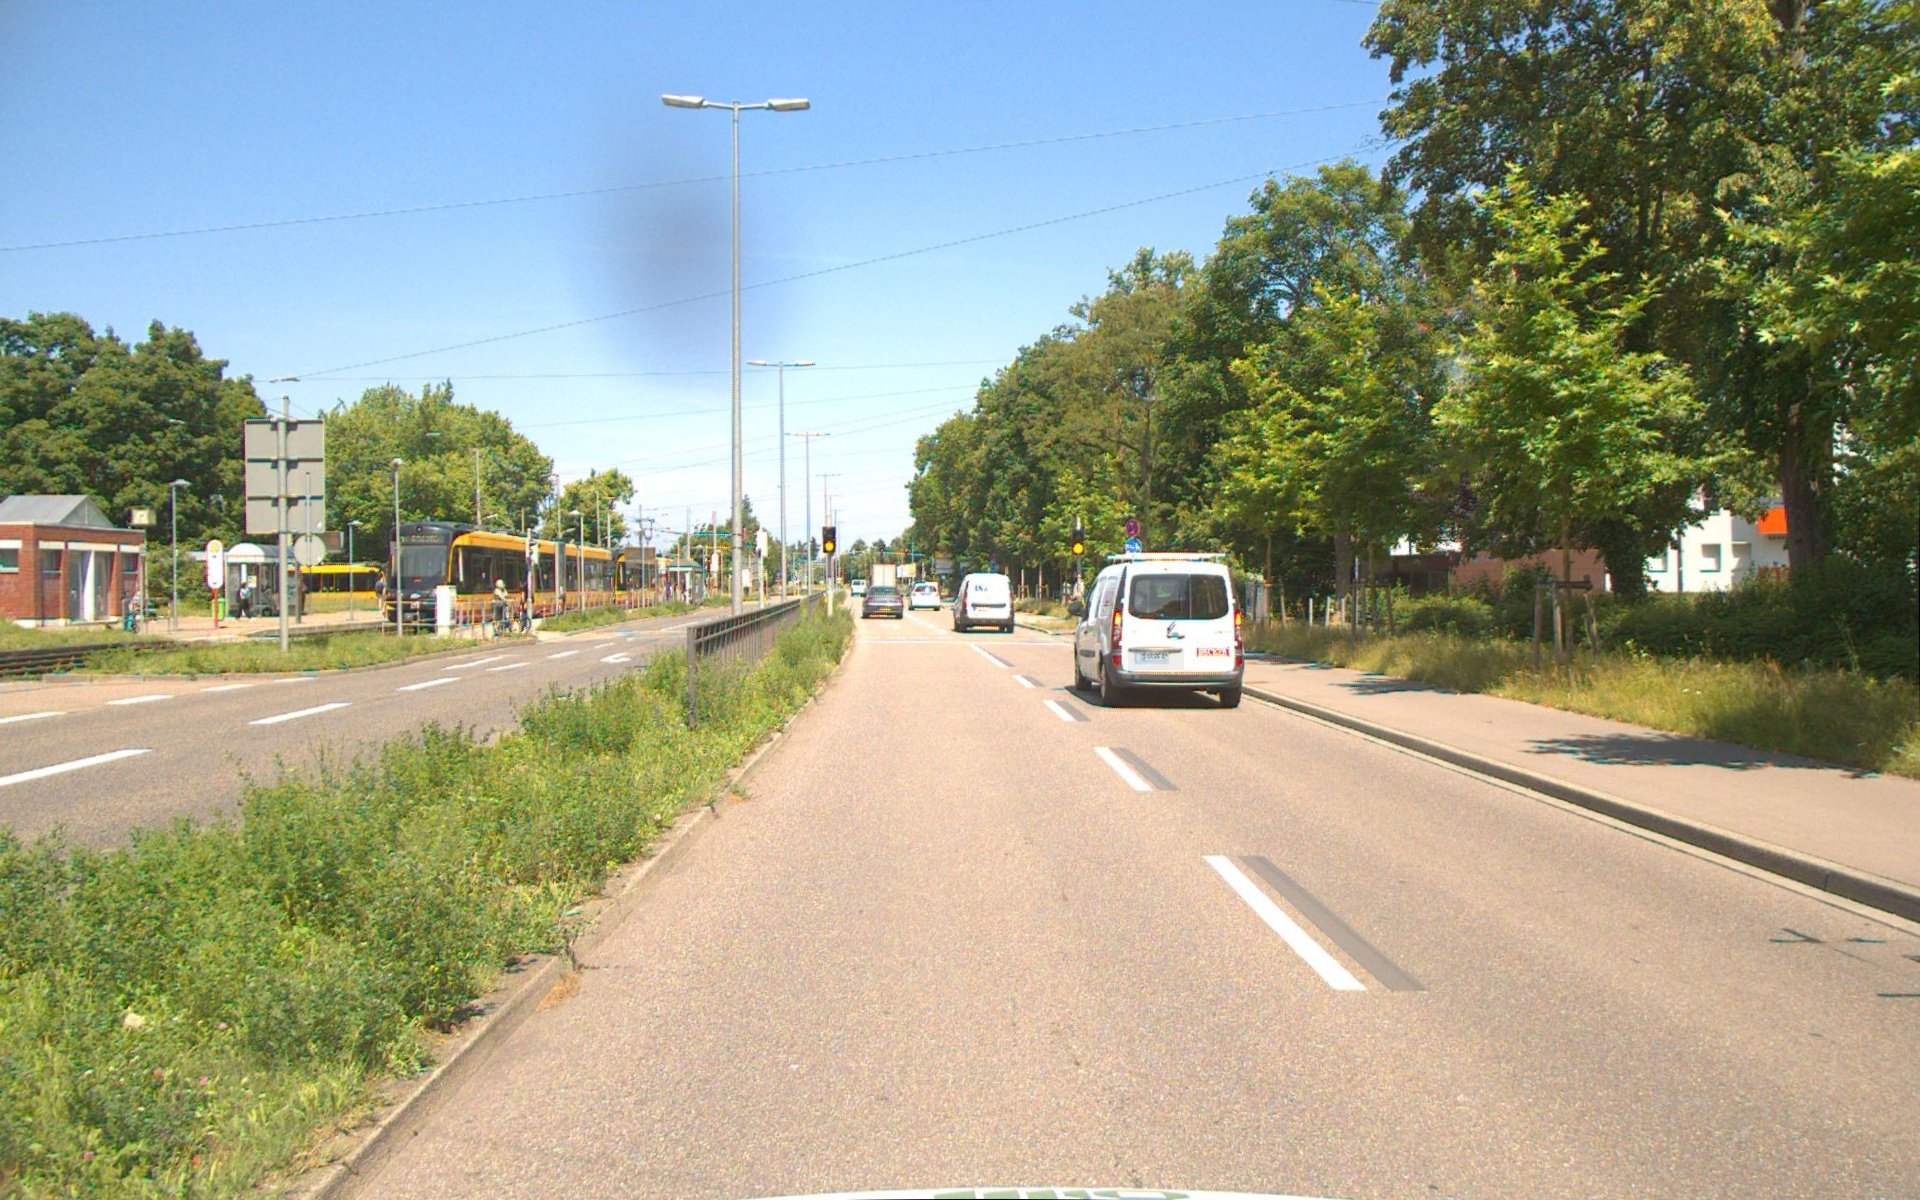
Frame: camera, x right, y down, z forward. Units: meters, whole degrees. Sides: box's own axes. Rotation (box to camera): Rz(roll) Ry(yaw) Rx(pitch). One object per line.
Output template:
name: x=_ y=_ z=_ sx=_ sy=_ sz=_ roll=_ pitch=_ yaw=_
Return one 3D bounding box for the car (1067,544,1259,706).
car: x=2.571 y=0.280 z=21.995 sx=1.788 sy=1.914 sz=4.453 roll=1 pitch=0 yaw=-3

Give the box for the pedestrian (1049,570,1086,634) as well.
pedestrian: x=3.209 y=0.042 z=49.195 sx=1.024 sy=1.882 sz=0.758 roll=0 pitch=0 yaw=8

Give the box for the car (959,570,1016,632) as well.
car: x=0.841 y=-0.010 z=52.357 sx=1.692 sy=1.845 sz=4.000 roll=1 pitch=1 yaw=0

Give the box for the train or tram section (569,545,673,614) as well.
train or tram section: x=-20.642 y=-1.201 z=102.698 sx=2.733 sy=3.732 sz=25.980 roll=0 pitch=0 yaw=-4

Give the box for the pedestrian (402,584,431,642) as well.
pedestrian: x=-14.993 y=0.350 z=45.610 sx=0.532 sy=1.568 sz=0.858 roll=-1 pitch=0 yaw=-36

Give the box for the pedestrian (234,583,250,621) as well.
pedestrian: x=-27.722 y=0.084 z=63.859 sx=0.452 sy=1.461 sz=0.524 roll=0 pitch=0 yaw=-6

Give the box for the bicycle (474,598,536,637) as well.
bicycle: x=-13.823 y=0.534 z=50.234 sx=1.824 sy=1.177 sz=0.242 roll=0 pitch=0 yaw=1

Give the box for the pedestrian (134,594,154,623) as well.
pedestrian: x=-29.693 y=0.320 z=60.156 sx=0.472 sy=1.036 sz=0.522 roll=0 pitch=0 yaw=-2

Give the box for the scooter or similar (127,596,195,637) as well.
scooter or similar: x=-22.954 y=0.455 z=47.554 sx=0.601 sy=1.146 sz=1.665 roll=0 pitch=0 yaw=40

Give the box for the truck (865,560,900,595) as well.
truck: x=-8.868 y=-2.520 z=187.907 sx=3.822 sy=3.879 sz=10.784 roll=0 pitch=1 yaw=-4

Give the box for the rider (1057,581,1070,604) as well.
rider: x=5.811 y=-0.417 z=92.571 sx=0.664 sy=1.304 sz=0.533 roll=0 pitch=0 yaw=-4

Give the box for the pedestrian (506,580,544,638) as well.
pedestrian: x=-13.769 y=0.271 z=52.376 sx=0.939 sy=1.828 sz=0.705 roll=0 pitch=0 yaw=25

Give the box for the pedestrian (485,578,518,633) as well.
pedestrian: x=-13.954 y=0.173 z=50.372 sx=0.802 sy=1.657 sz=0.705 roll=0 pitch=0 yaw=2

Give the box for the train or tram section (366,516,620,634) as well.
train or tram section: x=-18.606 y=-0.947 z=71.034 sx=2.732 sy=3.732 sz=37.490 roll=0 pitch=0 yaw=-4

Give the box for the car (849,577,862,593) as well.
car: x=-12.883 y=-1.827 z=204.088 sx=1.654 sy=1.930 sz=3.867 roll=0 pitch=1 yaw=-4

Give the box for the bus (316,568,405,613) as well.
bus: x=-49.012 y=-0.776 z=135.104 sx=7.378 sy=3.629 sz=2.000 roll=0 pitch=0 yaw=21

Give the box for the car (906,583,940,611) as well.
car: x=-2.140 y=-0.166 z=95.099 sx=1.768 sy=1.566 sz=3.996 roll=0 pitch=0 yaw=-5

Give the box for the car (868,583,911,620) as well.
car: x=-3.087 y=0.031 z=71.866 sx=1.766 sy=1.512 sz=3.998 roll=-1 pitch=1 yaw=-3
